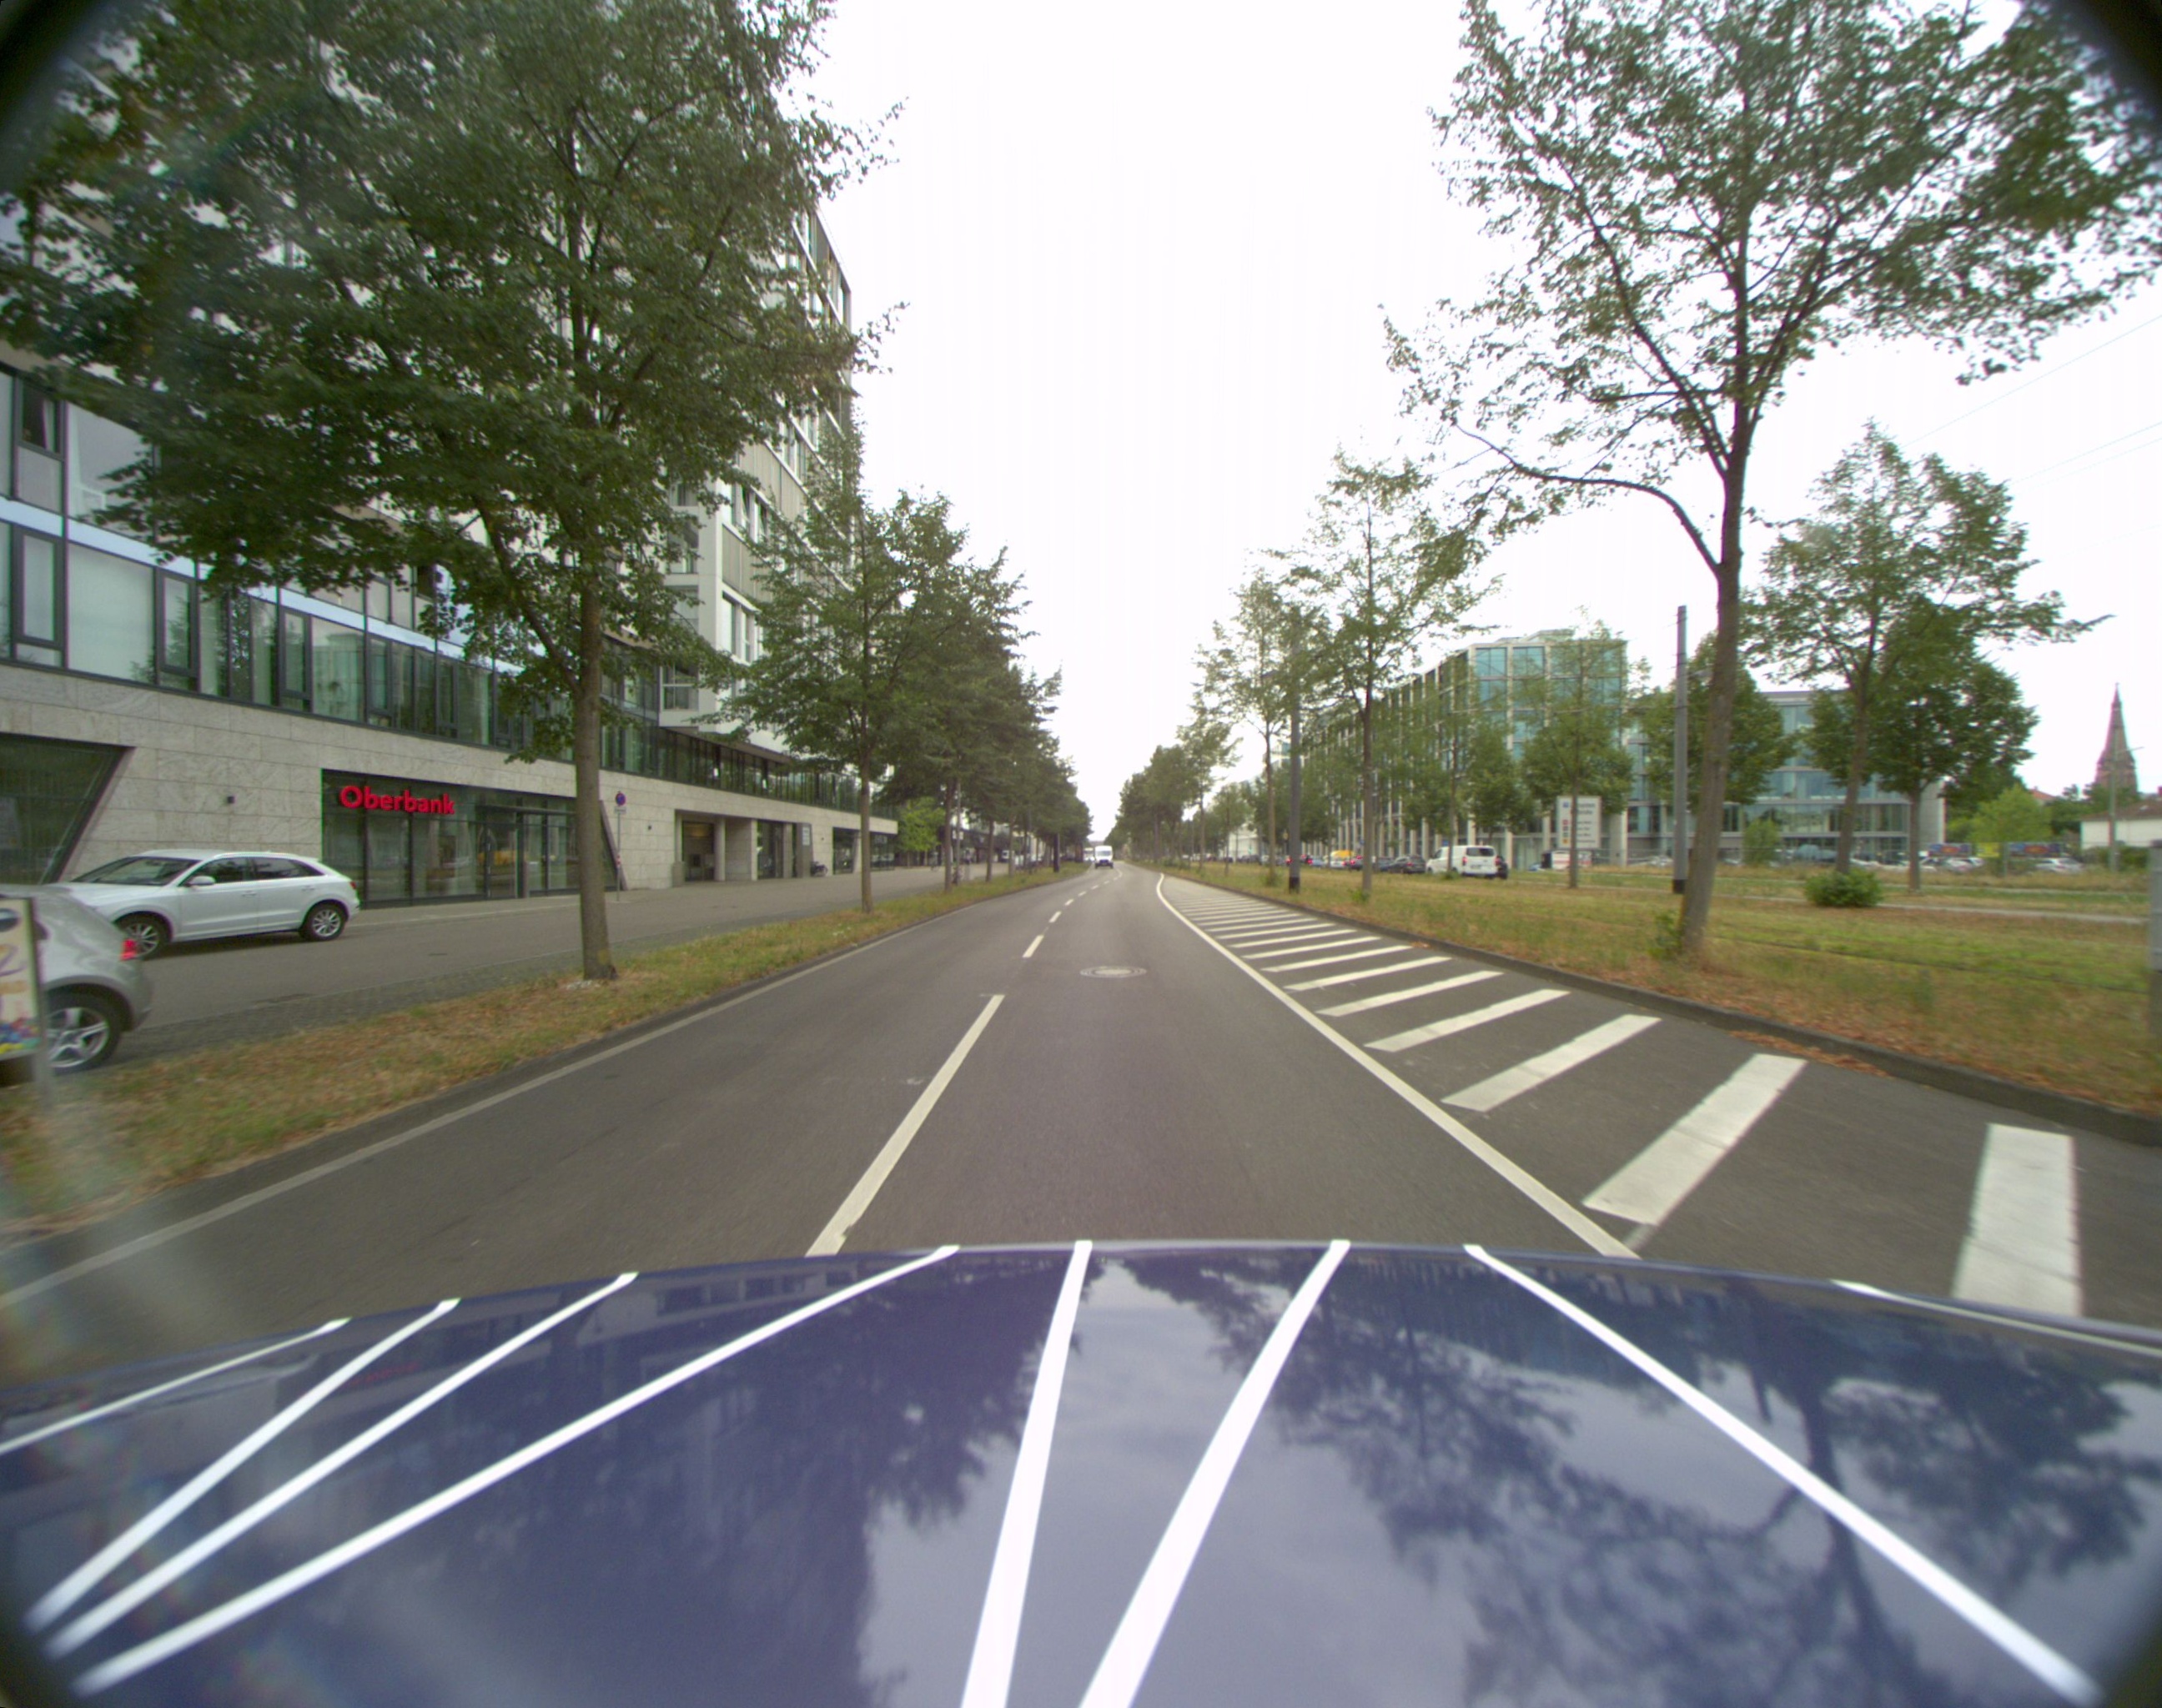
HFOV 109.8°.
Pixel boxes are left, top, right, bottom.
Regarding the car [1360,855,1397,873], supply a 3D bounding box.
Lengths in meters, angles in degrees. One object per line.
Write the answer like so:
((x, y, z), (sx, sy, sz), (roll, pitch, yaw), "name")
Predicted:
((25.173, 0.844, 64.429), (1.753, 1.488, 3.865), (0, 0, 1), "car")

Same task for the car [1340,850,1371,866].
((26.002, 0.352, 72.037), (1.752, 1.448, 3.865), (-2, 0, 3), "car")

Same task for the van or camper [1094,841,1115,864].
((2.558, -0.176, 85.333), (2.183, 2.494, 6.339), (-1, 0, 1), "van or camper")

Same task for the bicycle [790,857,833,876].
((-17.381, 0.776, 49.043), (2.426, 1.170, 1.202), (0, 1, -6), "bicycle")

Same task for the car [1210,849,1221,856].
((27.425, -0.292, 155.234), (1.752, 1.448, 3.865), (0, 0, 3), "car")

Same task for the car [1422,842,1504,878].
((21.317, 0.303, 42.676), (1.998, 1.933, 5.095), (0, 0, 0), "car")

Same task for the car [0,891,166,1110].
((-8.096, 1.012, 3.853), (1.764, 1.413, 4.183), (-1, 0, 1), "car")

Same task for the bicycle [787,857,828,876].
((-17.205, 0.787, 47.813), (2.238, 1.170, 0.975), (0, 1, -6), "bicycle")

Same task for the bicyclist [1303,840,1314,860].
((23.711, -0.392, 79.184), (0.742, 2.002, 0.995), (-2, 1, -1), "bicyclist")

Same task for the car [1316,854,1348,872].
((22.622, 0.802, 68.564), (1.753, 1.488, 3.865), (0, 0, 1), "car")

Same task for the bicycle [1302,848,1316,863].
((23.727, 0.140, 79.141), (0.711, 1.479, 2.358), (-2, 0, 0), "bicycle")

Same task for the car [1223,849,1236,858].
((26.584, -0.095, 136.408), (1.752, 1.448, 3.865), (0, 0, 3), "car")

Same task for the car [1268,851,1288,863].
((25.086, 0.327, 96.861), (1.752, 1.448, 3.865), (0, 0, 3), "car")

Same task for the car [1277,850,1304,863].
((24.331, 0.301, 88.411), (1.998, 1.410, 4.000), (0, 0, 1), "car")

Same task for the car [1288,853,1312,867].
((24.035, 0.647, 83.483), (1.752, 1.448, 3.866), (0, 0, 4), "car")

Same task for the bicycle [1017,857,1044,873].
((-3.459, 0.750, 52.218), (1.790, 1.013, 0.422), (0, 1, -13), "bicycle")

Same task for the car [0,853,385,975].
((-14.383, 0.820, 12.500), (1.862, 1.579, 4.240), (2, 0, 1), "car")

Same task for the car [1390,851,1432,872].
((25.079, 0.573, 57.917), (1.752, 1.520, 4.281), (0, 0, 6), "car")

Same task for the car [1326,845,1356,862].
((27.091, -0.035, 79.250), (1.956, 1.761, 4.445), (0, 0, 5), "car")

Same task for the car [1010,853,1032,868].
((-6.306, 0.658, 80.601), (1.954, 1.521, 4.000), (0, 0, 0), "car")

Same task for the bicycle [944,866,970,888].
((-5.531, 1.024, 34.012), (0.634, 0.871, 2.116), (-2, 1, 3), "bicycle")

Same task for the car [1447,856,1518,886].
((24.418, 0.999, 46.389), (1.832, 1.647, 4.691), (0, 0, -1), "car")

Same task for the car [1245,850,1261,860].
((26.266, 0.116, 116.286), (1.752, 1.448, 3.865), (0, 0, 3), "car")

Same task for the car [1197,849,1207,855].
((27.098, -0.434, 170.009), (1.752, 1.448, 3.865), (0, 0, 3), "car")
